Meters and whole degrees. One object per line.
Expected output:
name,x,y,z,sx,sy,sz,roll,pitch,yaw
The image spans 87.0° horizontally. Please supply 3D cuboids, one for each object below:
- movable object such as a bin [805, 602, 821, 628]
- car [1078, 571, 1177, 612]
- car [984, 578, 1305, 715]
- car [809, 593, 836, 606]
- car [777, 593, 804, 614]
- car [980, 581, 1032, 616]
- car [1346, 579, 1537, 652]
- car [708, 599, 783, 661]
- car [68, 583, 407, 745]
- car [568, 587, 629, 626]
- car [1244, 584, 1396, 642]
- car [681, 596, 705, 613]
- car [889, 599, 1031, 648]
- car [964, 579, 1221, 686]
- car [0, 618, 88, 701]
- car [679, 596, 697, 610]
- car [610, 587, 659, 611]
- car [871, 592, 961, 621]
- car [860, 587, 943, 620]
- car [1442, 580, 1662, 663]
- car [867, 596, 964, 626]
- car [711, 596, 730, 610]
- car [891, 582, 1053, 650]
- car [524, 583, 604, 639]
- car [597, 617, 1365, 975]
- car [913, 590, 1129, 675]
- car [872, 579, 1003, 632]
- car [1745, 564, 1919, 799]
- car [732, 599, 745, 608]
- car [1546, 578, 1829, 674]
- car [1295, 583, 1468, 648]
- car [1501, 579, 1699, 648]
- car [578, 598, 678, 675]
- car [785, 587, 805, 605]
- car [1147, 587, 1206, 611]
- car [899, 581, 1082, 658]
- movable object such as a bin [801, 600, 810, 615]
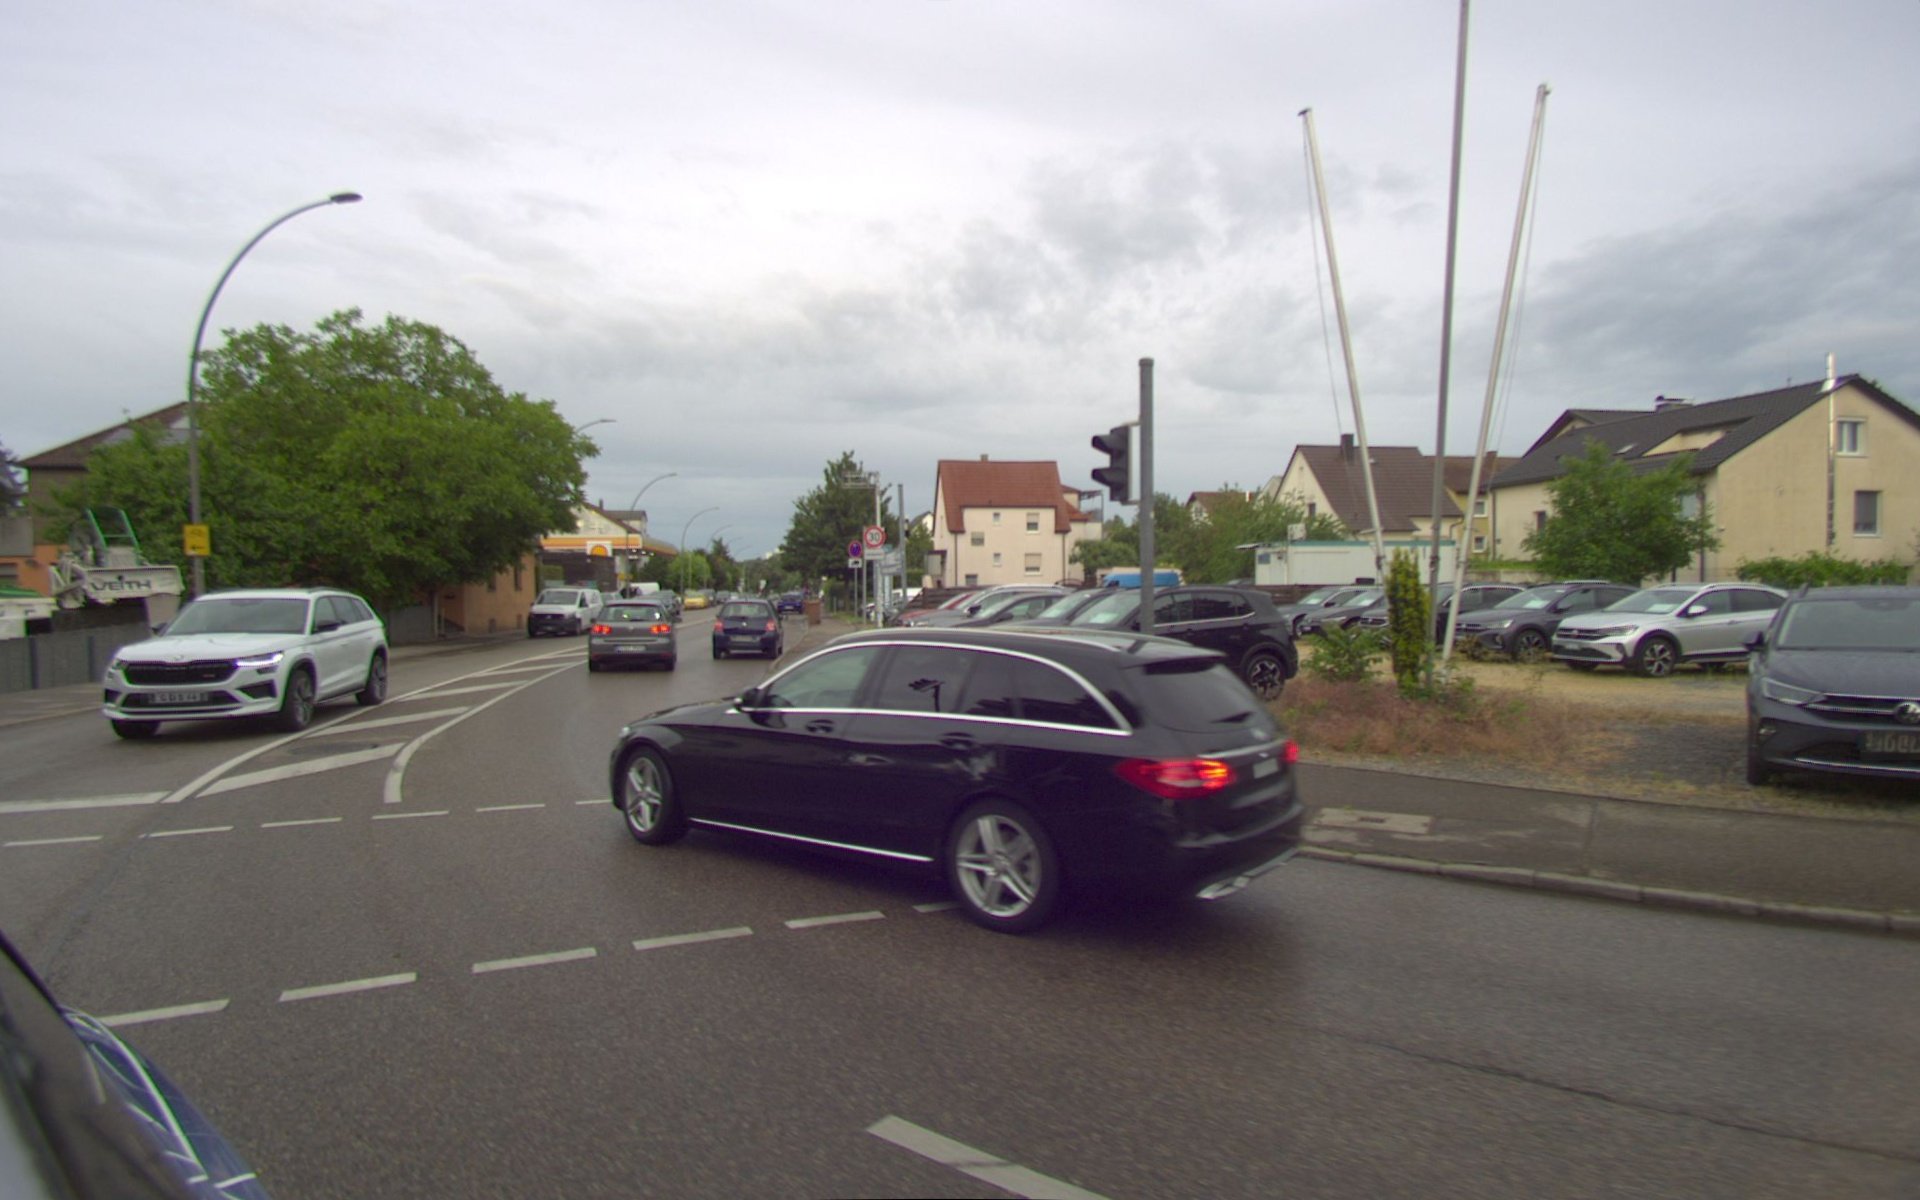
movable object such as a bin,-6.813,0.691,46.998,0.699,1.138,0.736,-1,0,-8
car,10.353,-0.525,62.741,5.598,2.392,2.051,-2,0,-8
car,2.464,0.566,13.643,3.891,1.542,1.627,-2,0,-18
car,-21.128,-0.059,155.409,3.936,1.659,2.004,-5,0,-10
car,-12.039,0.233,72.002,1.784,1.413,3.952,1,0,-9
car,2.681,-0.091,60.069,1.967,1.945,5.065,0,0,-11
car,10.695,0.326,22.547,3.583,1.439,1.596,-2,0,-14
car,-5.488,0.728,26.235,1.606,1.444,3.689,-1,0,-7
car,-8.854,0.670,12.995,1.854,1.673,4.843,0,0,-13
car,-16.686,0.257,46.891,1.842,1.678,4.329,-2,1,-9
car,10.002,0.353,28.231,3.588,1.439,1.594,-2,0,-6
car,-23.416,0.362,88.834,1.635,1.412,3.809,-1,0,-9
car,-0.056,0.727,32.579,4.293,1.442,1.962,-1,0,-7
car,2.159,0.517,17.046,3.896,1.542,1.694,-2,0,-8
car,-23.885,1.456,24.261,4.072,1.884,2.003,-2,0,-7
car,-32.728,0.350,121.923,1.967,1.695,4.010,-1,0,-13
car,-35.634,-0.121,110.792,4.722,2.539,2.254,-1,0,-30
car,-2.248,0.323,50.745,4.320,1.384,1.893,-1,0,-8
car,-3.388,0.169,58.126,4.496,1.803,1.903,-1,0,-12
car,11.433,0.392,19.604,3.583,1.385,1.522,-2,0,-14
car,-2.139,0.506,48.018,4.394,1.342,1.774,-1,0,-8
car,-28.456,0.386,120.433,1.968,1.608,4.008,0,0,-10
car,0.250,0.400,26.218,3.938,1.555,1.806,-2,0,-6
car,-15.874,0.433,40.785,1.756,2.044,4.760,-2,0,-6
car,-0.093,0.845,5.962,4.341,1.403,1.691,-1,-4,36
car,1.130,0.606,19.886,3.938,1.452,1.806,-2,0,-6
car,-0.834,0.187,35.305,4.293,1.704,2.062,-1,0,-7
car,7.413,0.538,7.977,1.756,1.502,3.929,-3,-3,40
car,-34.017,0.526,155.454,1.729,1.429,4.118,0,0,-9
car,12.090,0.429,16.927,3.714,1.475,1.593,1,-1,-7
car,10.477,0.379,25.294,3.588,1.439,1.594,-2,0,-6
car,16.336,0.333,25.937,3.940,1.563,1.755,-2,0,-4
car,-7.107,0.795,21.964,1.700,1.467,4.010,-1,-2,-13
car,-13.471,-0.307,82.796,1.526,1.413,3.604,1,0,-9
car,12.933,-0.075,60.554,3.181,1.343,1.341,-1,0,-10
car,0.633,0.423,23.167,3.938,1.555,1.806,-2,0,-6
movable object such as a bin,-10.202,0.503,66.777,0.533,0.917,0.425,-4,1,-10
